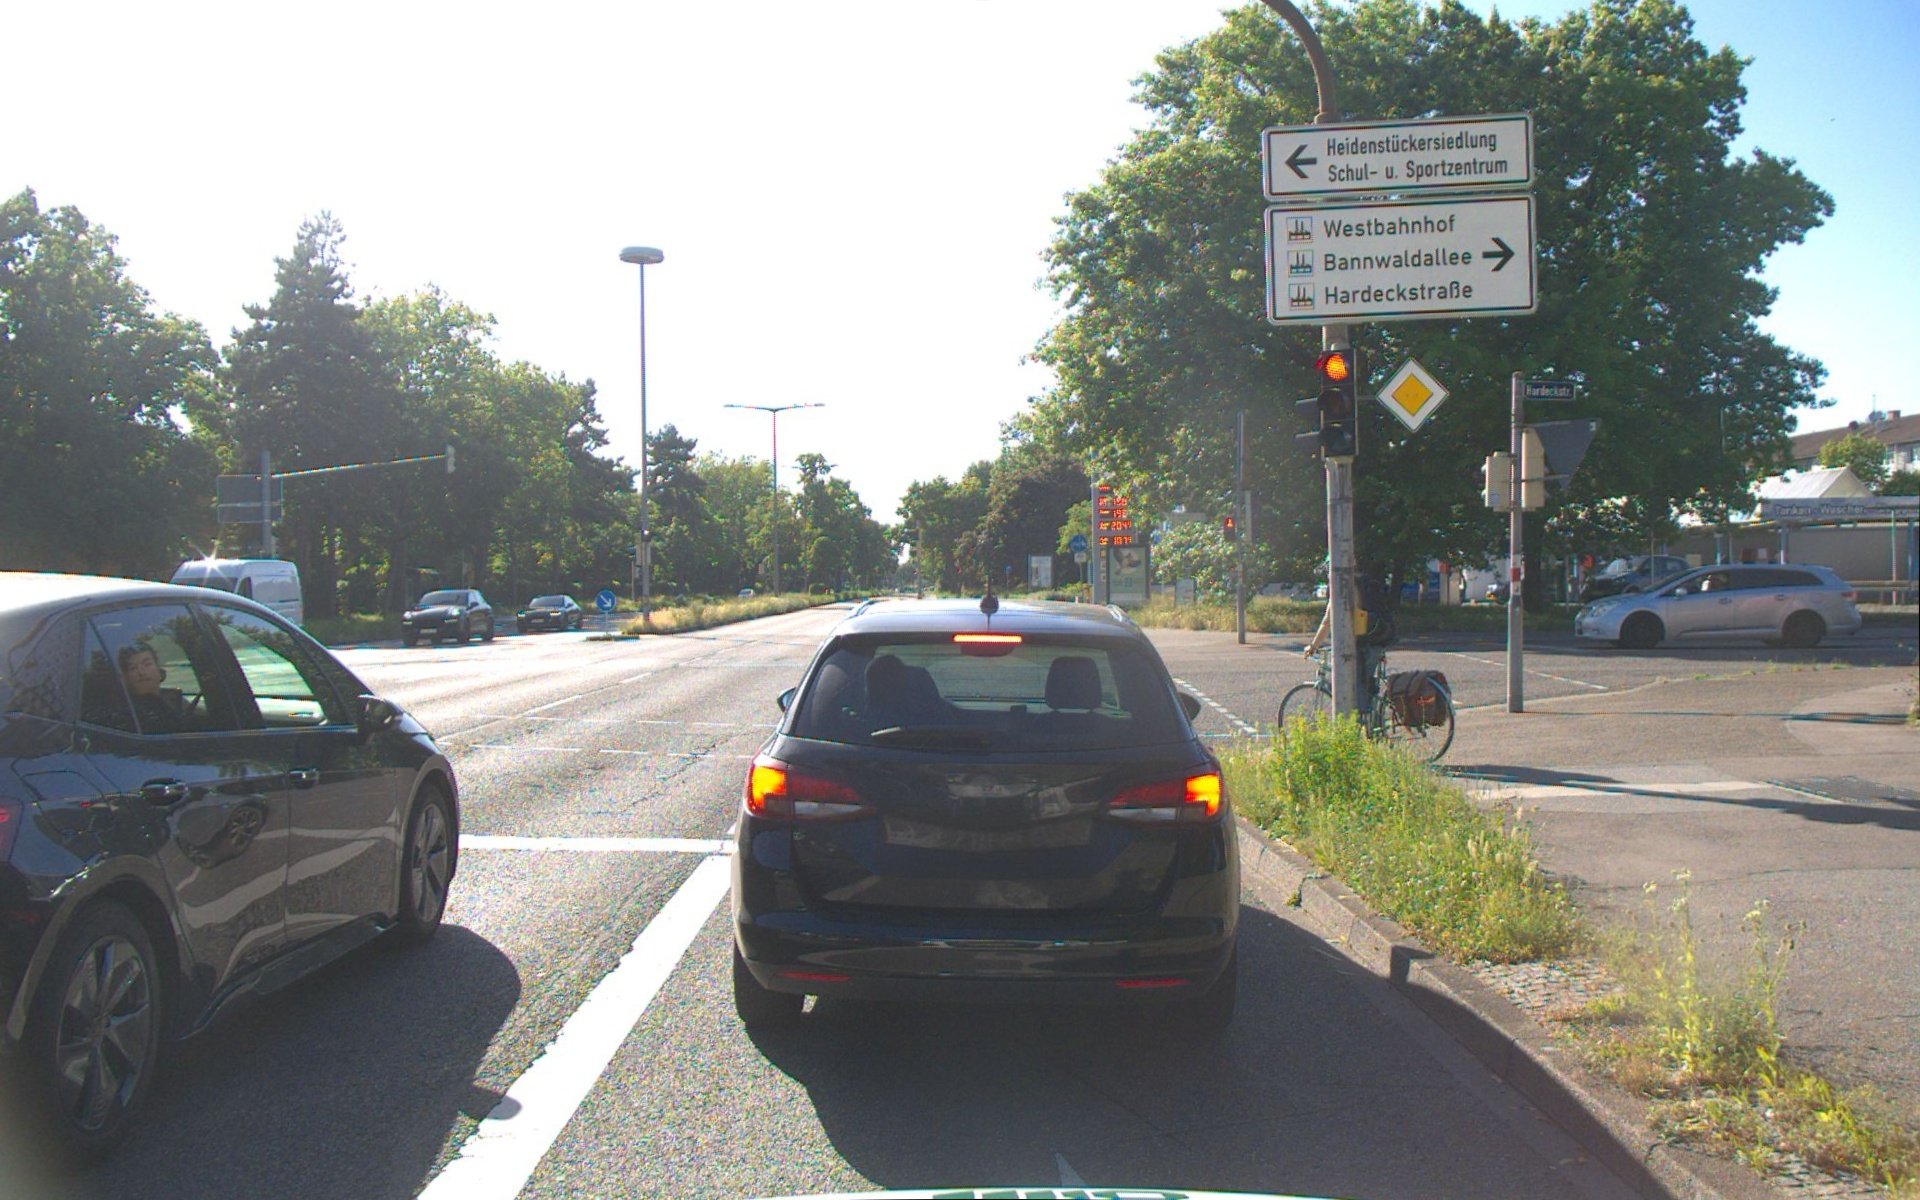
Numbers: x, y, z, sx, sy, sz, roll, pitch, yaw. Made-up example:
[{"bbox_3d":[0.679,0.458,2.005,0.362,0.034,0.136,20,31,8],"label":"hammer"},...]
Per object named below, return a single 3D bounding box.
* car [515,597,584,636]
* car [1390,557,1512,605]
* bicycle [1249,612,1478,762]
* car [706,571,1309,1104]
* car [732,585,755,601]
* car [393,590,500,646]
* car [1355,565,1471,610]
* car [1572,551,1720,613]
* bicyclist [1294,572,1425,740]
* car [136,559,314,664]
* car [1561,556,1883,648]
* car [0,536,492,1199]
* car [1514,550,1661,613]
[{"bbox_3d":[-16.535,0.637,66.782,1.740,1.488,4.164,-1,0,-1],"label":"car"},{"bbox_3d":[16.915,-0.649,56.995,3.837,1.544,1.732,-2,0,-24],"label":"car"},{"bbox_3d":[3.234,0.703,13.380,0.533,1.117,1.748,-2,-2,-44],"label":"bicycle"},{"bbox_3d":[0.110,0.687,6.847,1.721,1.521,4.206,0,0,-1],"label":"car"},{"bbox_3d":[-22.561,-0.741,172.701,1.953,1.556,3.999,-2,0,-1],"label":"car"},{"bbox_3d":[-16.107,0.519,52.101,1.953,1.629,4.615,-1,0,-1],"label":"car"},{"bbox_3d":[16.438,-0.461,60.070,3.837,1.544,1.732,-2,0,-24],"label":"car"},{"bbox_3d":[19.995,-0.532,48.206,3.934,1.709,1.732,-2,0,-24],"label":"car"},{"bbox_3d":[3.226,0.452,13.382,0.534,1.299,0.816,-2,-2,-44],"label":"bicyclist"},{"bbox_3d":[-19.260,0.256,43.724,2.057,2.536,6.003,-1,0,-1],"label":"car"},{"bbox_3d":[13.546,0.033,29.714,4.897,1.512,2.002,-1,0,11],"label":"car"},{"bbox_3d":[-2.990,0.661,5.615,1.650,1.608,4.206,0,0,-1],"label":"car"},{"bbox_3d":[18.971,-0.576,50.024,3.935,1.780,1.985,-2,1,-24],"label":"car"}]
